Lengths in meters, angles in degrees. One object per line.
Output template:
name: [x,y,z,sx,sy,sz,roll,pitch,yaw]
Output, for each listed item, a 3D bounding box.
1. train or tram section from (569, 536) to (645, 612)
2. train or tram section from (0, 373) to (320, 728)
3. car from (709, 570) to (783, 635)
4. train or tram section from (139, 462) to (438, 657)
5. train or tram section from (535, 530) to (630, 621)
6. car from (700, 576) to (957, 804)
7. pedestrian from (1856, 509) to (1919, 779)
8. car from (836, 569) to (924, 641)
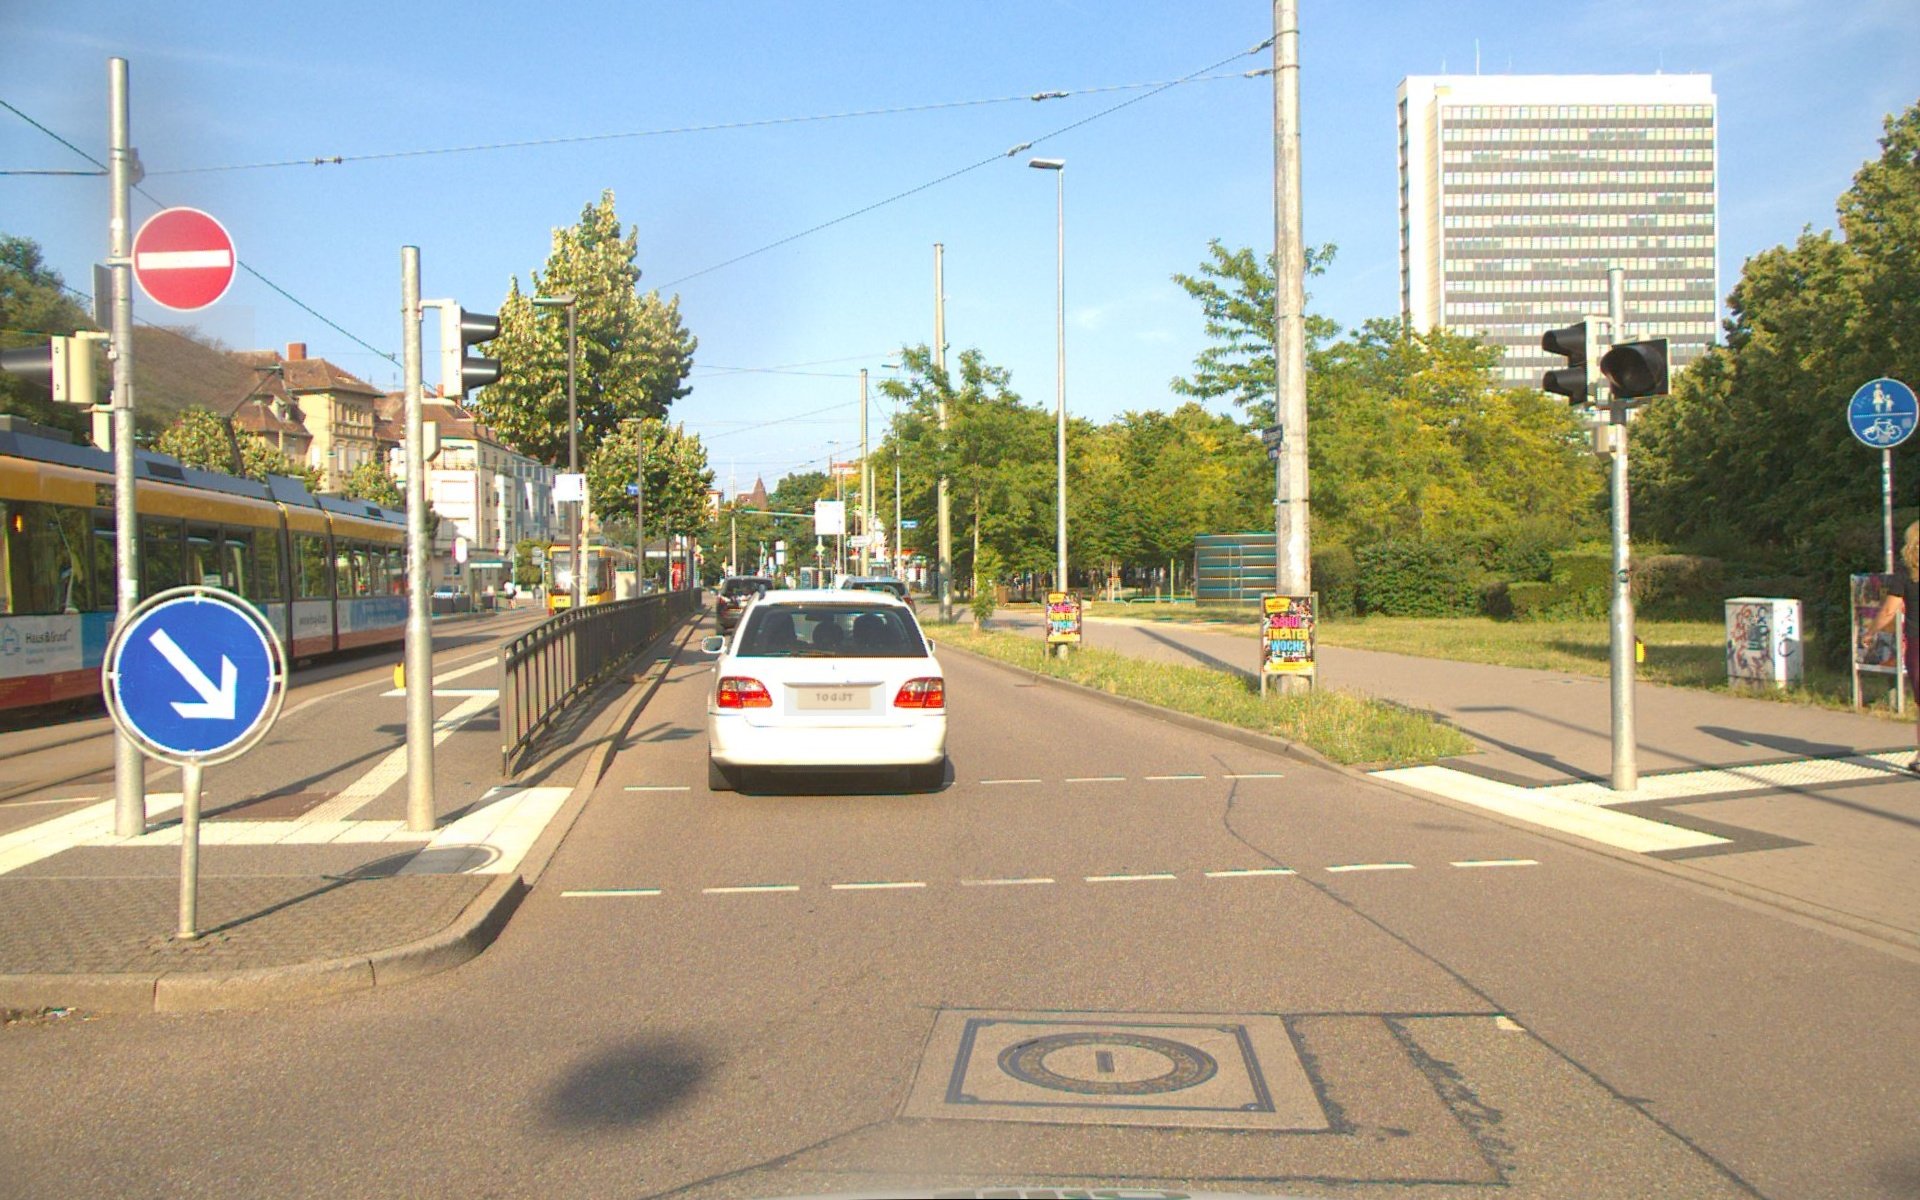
train or tram section: [-17.786,-1.315,84.019,2.796,3.540,13.177,0,1,-8]
train or tram section: [-12.246,-0.611,23.261,3.103,3.540,14.502,0,1,-9]
car: [-5.839,0.034,45.479,1.752,1.719,3.997,0,1,-4]
train or tram section: [-14.536,-0.852,37.453,3.103,3.540,14.441,0,1,-9]
train or tram section: [-16.061,-1.077,71.197,2.796,3.540,13.177,1,1,-8]
car: [-0.988,0.629,13.175,1.723,1.530,3.997,0,-1,-3]
pedestrian: [6.400,0.263,10.853,0.603,1.721,0.548,-5,1,-4]
car: [-1.941,0.078,39.514,1.993,1.633,3.997,0,1,-4]
